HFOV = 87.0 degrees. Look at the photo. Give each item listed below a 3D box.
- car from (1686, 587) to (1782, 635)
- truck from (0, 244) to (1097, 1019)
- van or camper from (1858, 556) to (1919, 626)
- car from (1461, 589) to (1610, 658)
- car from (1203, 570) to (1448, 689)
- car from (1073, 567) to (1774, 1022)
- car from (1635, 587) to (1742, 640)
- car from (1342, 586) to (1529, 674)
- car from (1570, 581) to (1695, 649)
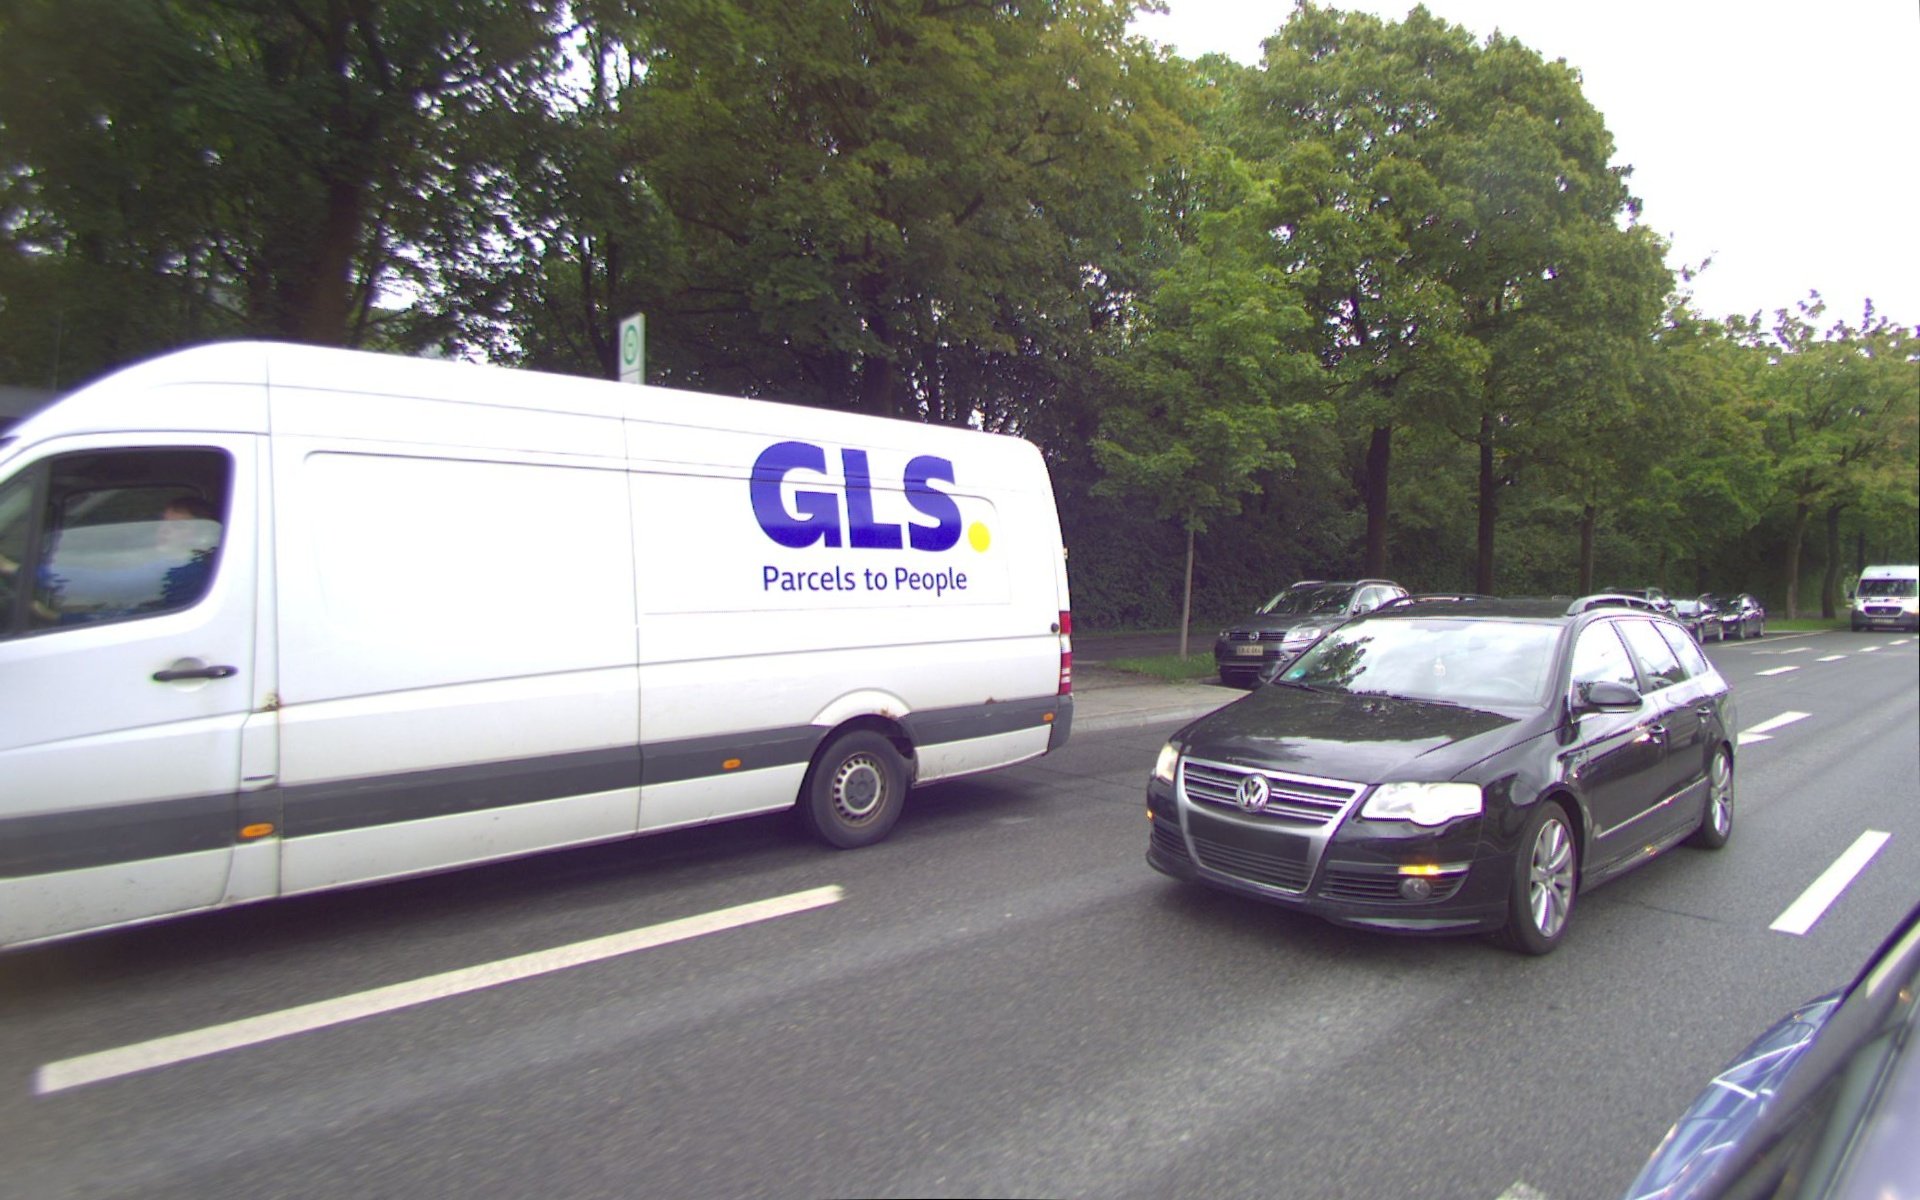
[{"bbox_3d":[25.829,0.315,33.731,4.181,1.485,1.750,-1,1,-41],"label":"car"},{"bbox_3d":[-2.322,0.075,5.631,7.103,2.636,1.996,-1,1,-42],"label":"truck"},{"bbox_3d":[37.514,-0.373,39.808,6.948,2.593,2.183,0,2,-39],"label":"van or camper"},{"bbox_3d":[13.507,0.484,23.674,4.181,1.446,1.750,-1,2,-41],"label":"car"},{"bbox_3d":[6.012,0.377,16.431,4.320,1.670,1.882,-1,1,-41],"label":"car"},{"bbox_3d":[2.812,0.607,5.500,4.590,1.493,1.750,-1,1,-41],"label":"car"},{"bbox_3d":[22.087,0.366,30.634,3.968,1.485,1.750,-1,1,-41],"label":"car"},{"bbox_3d":[9.471,0.501,20.019,4.320,1.543,1.750,-1,1,-41],"label":"car"},{"bbox_3d":[18.080,0.336,27.151,4.181,1.670,1.750,-1,1,-41],"label":"car"}]
